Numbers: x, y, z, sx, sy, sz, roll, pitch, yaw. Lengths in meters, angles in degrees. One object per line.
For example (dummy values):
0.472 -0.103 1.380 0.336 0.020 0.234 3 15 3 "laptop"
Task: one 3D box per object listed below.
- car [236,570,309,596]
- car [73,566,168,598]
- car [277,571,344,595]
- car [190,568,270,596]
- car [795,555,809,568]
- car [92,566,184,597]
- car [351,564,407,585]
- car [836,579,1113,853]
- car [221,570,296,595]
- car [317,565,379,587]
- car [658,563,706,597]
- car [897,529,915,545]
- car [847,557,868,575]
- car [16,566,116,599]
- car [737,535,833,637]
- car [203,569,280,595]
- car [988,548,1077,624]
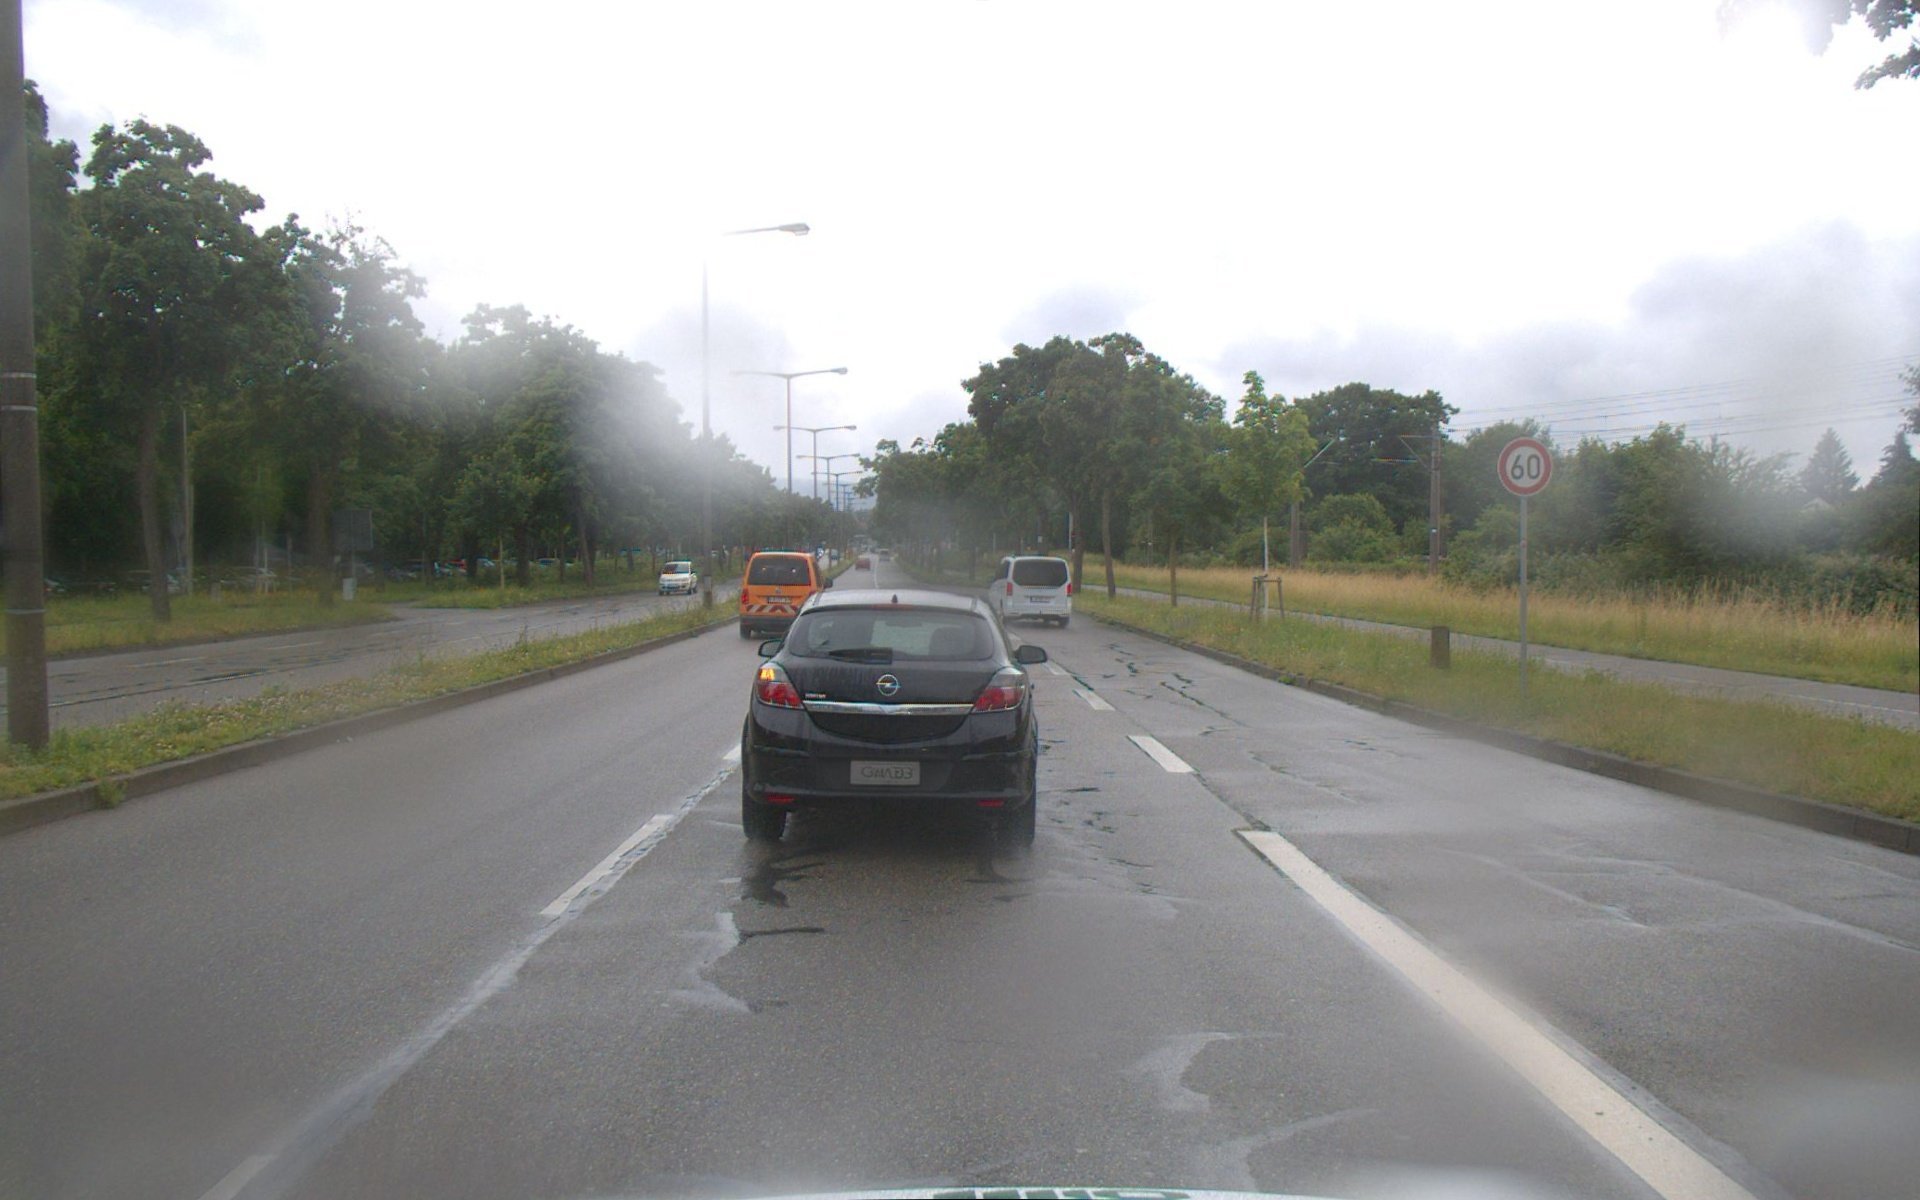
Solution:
-41.639 -1.044 100.194 3.762 1.477 1.523 0 1 -7 "car"
-40.531 -0.884 79.950 3.762 1.477 1.523 0 1 -7 "car"
-42.253 -1.102 107.640 3.762 1.477 1.523 0 1 -7 "car"
-40.965 -1.012 92.861 3.762 1.477 1.523 0 1 -7 "car"
-21.200 -5.172 222.142 1.685 1.555 3.809 0 3 -1 "car"
-40.926 -0.939 82.377 3.762 1.477 1.523 0 1 -7 "car"
-42.086 -1.847 119.893 3.774 1.477 1.518 -1 1 -17 "car"
0.110 0.583 10.541 1.433 1.352 3.759 1 2 1 "car"
-41.510 -1.042 97.867 3.762 1.477 1.523 0 1 -7 "car"
-41.761 -1.652 112.945 3.770 1.477 1.520 -1 1 -14 "car"
-13.542 -0.994 80.674 1.648 1.581 4.000 1 1 0 "car"
-7.636 -8.824 233.486 2.465 2.088 5.292 2 1 -2 "car"
-11.161 -3.716 180.939 1.952 1.912 4.001 1 1 1 "car"
-40.390 -0.802 74.756 3.662 1.451 1.486 0 1 -7 "car"
-3.788 -0.331 36.488 1.700 2.054 4.848 1 1 -2 "car"
-41.366 -1.035 95.264 3.762 1.477 1.523 0 1 -7 "car"
1.968 -0.408 46.372 2.018 2.009 4.606 1 1 -3 "car"
